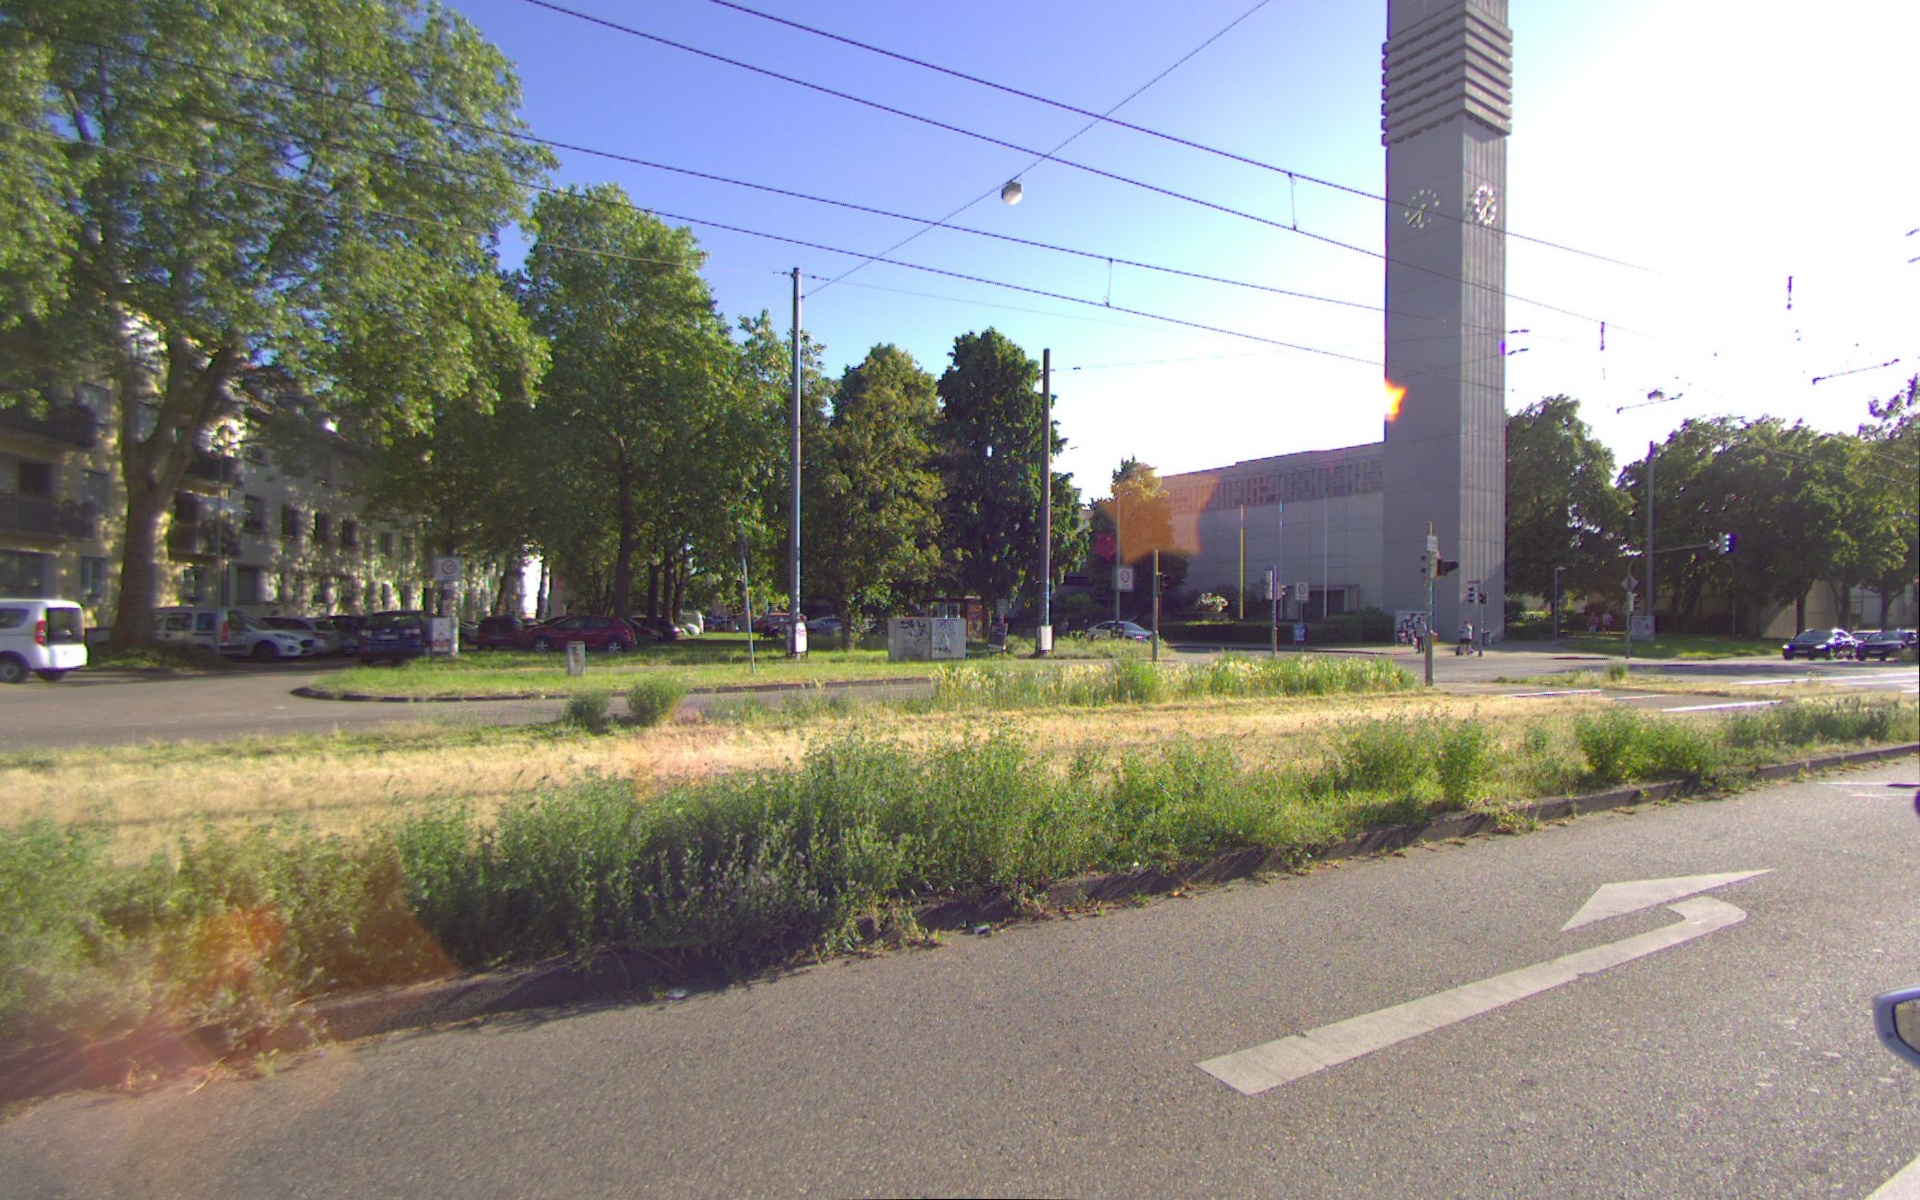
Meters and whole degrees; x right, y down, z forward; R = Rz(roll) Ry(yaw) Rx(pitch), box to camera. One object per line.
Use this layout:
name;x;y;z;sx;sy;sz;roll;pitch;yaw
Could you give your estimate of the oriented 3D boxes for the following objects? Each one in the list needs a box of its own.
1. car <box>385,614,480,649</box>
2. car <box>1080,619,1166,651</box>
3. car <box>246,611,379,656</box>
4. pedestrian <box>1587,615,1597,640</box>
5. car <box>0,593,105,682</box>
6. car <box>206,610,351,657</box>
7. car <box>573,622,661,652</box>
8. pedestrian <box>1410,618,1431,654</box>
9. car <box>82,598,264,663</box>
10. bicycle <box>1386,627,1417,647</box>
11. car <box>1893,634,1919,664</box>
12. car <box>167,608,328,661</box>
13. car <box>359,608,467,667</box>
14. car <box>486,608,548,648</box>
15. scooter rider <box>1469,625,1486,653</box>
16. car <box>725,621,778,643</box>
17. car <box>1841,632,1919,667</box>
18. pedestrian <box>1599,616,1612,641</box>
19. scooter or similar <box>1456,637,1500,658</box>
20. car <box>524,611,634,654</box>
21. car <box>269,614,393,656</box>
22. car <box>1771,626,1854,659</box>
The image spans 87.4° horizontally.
car;-28.013;1.690;53.481;3.989;1.686;1.997;2;-2;-11
car;8.970;1.907;55.635;1.981;1.420;4.670;1;2;-36
car;-25.448;1.342;39.613;3.929;1.635;1.879;2;-3;-11
pedestrian;39.596;1.724;62.927;0.302;1.581;0.432;1;2;-34
car;-22.080;0.802;22.514;3.935;1.851;1.993;2;1;-17
car;-25.152;1.263;37.198;3.929;1.590;1.879;2;-3;-11
car;-16.744;1.793;49.189;3.932;1.400;1.581;0;-1;-14
pedestrian;22.243;1.747;48.516;0.735;1.689;0.442;1;2;-21
car;-24.636;0.984;31.602;3.929;1.867;1.997;2;-3;-11
bicycle;23.838;2.014;54.272;1.659;1.060;0.489;1;1;-24
car;48.391;2.450;50.161;3.869;1.421;1.558;1;1;-31
car;-24.562;1.214;34.772;3.989;1.686;1.997;2;-2;-11
car;-16.170;1.074;29.897;1.719;1.622;3.991;0;-1;-12
car;-19.732;1.244;44.902;1.719;1.706;3.991;0;-1;-12
scooter rider;24.079;1.809;46.711;0.520;1.234;0.584;3;2;44
car;-17.031;2.615;82.081;3.953;1.795;1.659;1;-1;-31
car;43.094;2.280;46.919;4.310;1.553;1.679;1;-1;-31
pedestrian;40.028;1.759;62.278;0.483;1.527;0.432;1;2;-34
scooter or similar;24.082;2.189;46.708;1.716;0.911;0.560;0;-1;45
car;-13.975;1.191;37.013;3.585;1.399;1.641;2;1;-13
car;-26.351;1.495;42.208;3.929;1.635;1.879;2;-3;-11
car;41.708;2.067;49.127;4.310;1.553;1.798;1;-1;-31
